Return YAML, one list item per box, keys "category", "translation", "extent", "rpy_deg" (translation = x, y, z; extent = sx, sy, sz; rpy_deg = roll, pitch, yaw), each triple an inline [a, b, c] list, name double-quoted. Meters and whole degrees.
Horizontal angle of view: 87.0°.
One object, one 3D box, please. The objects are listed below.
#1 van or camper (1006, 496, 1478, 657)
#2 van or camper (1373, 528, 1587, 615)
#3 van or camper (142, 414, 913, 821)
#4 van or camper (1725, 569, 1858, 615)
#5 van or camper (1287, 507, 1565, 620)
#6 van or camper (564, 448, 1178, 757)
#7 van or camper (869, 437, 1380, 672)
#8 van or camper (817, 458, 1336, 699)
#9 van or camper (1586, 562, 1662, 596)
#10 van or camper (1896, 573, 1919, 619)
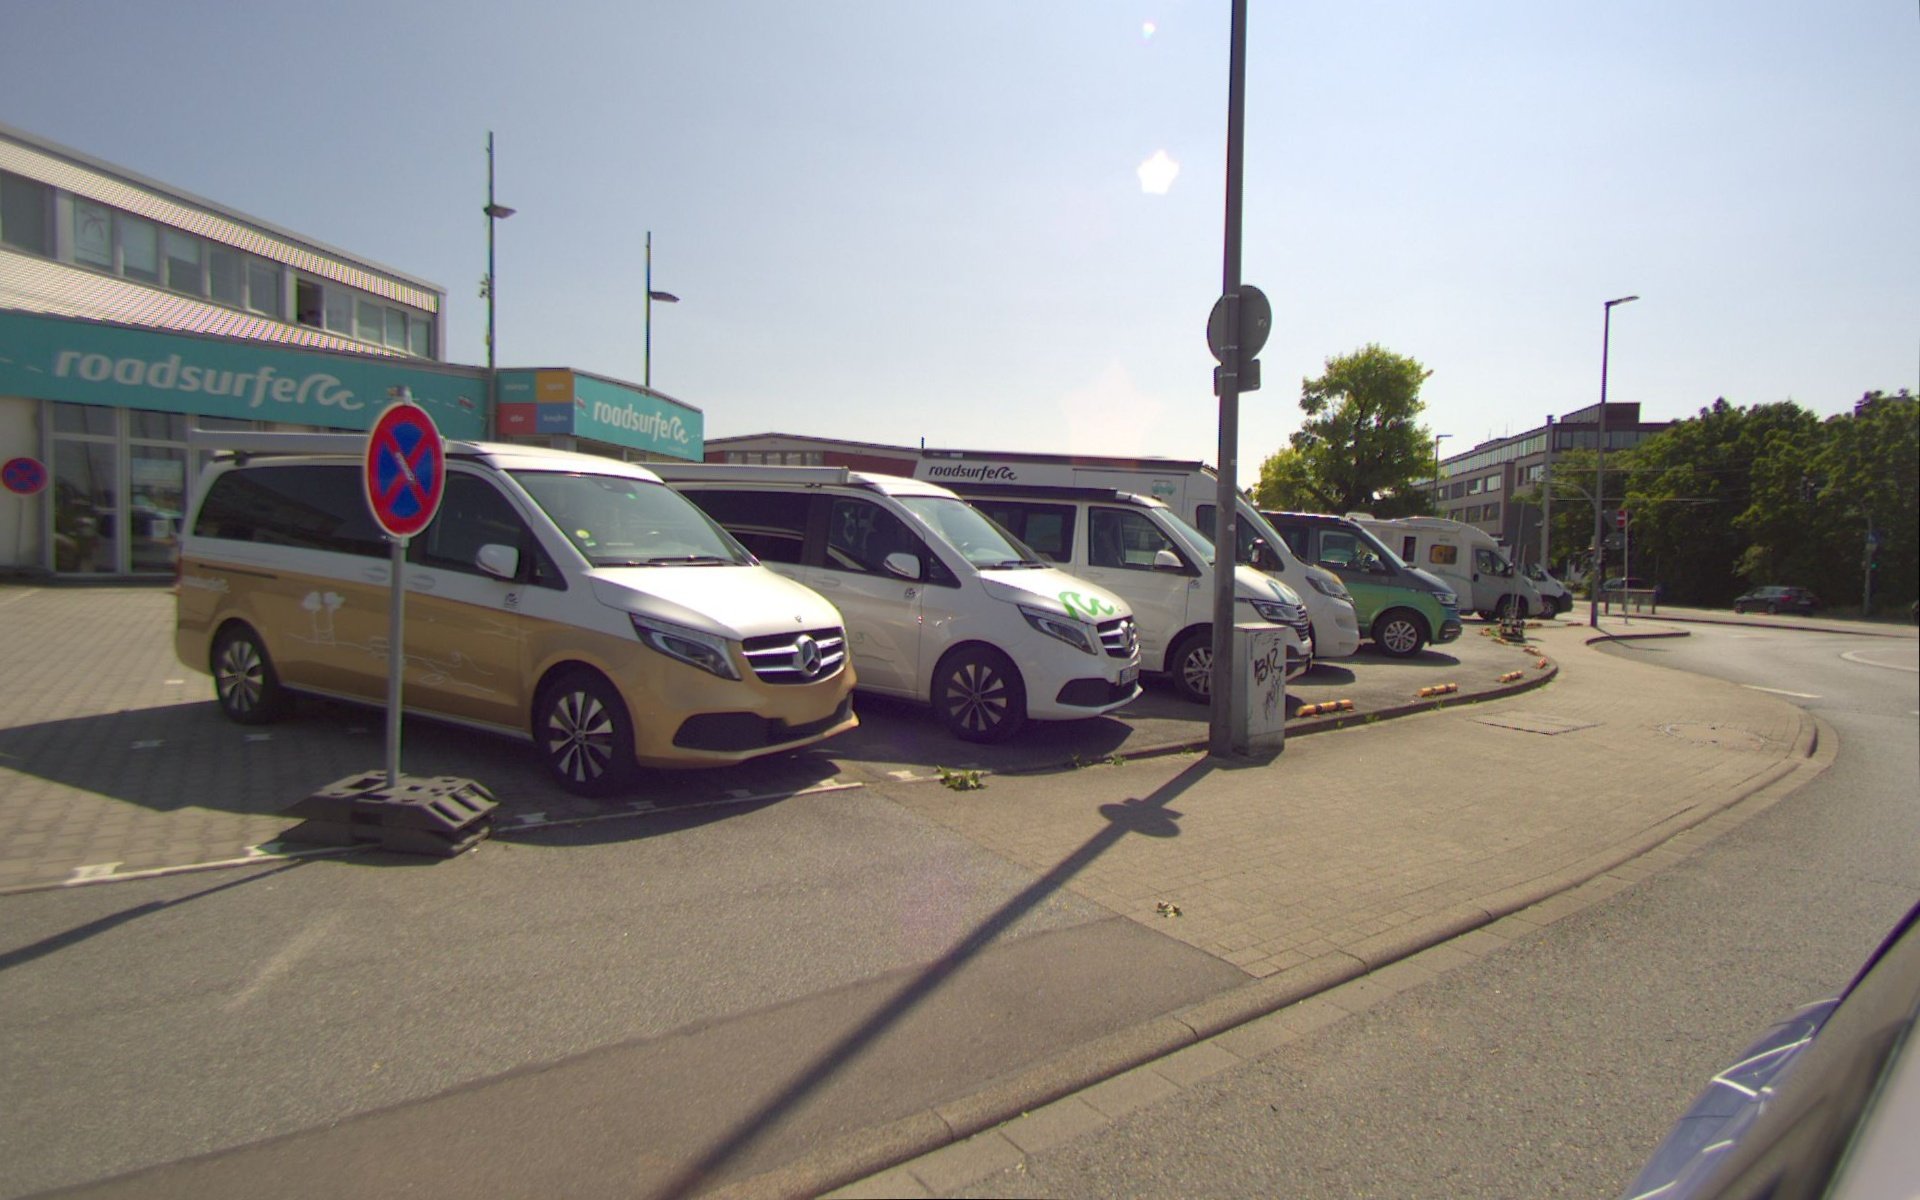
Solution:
- category: "van or camper"
  translation: [4.407, -0.497, 16.445]
  extent: [6.768, 2.160, 2.767]
  rpy_deg: [3, 3, 22]
- category: "van or camper"
  translation: [17.623, -1.023, 34.751]
  extent: [5.975, 2.676, 2.773]
  rpy_deg: [3, 2, 16]
- category: "van or camper"
  translation: [-3.039, -0.116, 6.907]
  extent: [5.084, 1.984, 1.971]
  rpy_deg: [4, 4, 25]
- category: "van or camper"
  translation: [41.670, -0.464, 50.946]
  extent: [2.459, 2.038, 5.234]
  rpy_deg: [2, 3, 4]
- category: "van or camper"
  translation: [13.297, -1.107, 29.499]
  extent: [6.740, 2.919, 2.778]
  rpy_deg: [2, 2, 11]
- category: "van or camper"
  translation: [-0.830, -0.156, 8.750]
  extent: [4.932, 2.070, 2.025]
  rpy_deg: [4, 3, 25]
- category: "van or camper"
  translation: [2.167, -0.700, 13.768]
  extent: [6.284, 2.668, 2.518]
  rpy_deg: [3, 2, 20]
- category: "van or camper"
  translation: [1.281, -0.343, 10.973]
  extent: [5.083, 2.101, 2.433]
  rpy_deg: [3, 3, 23]
- category: "van or camper"
  translation: [44.407, -1.456, 67.812]
  extent: [2.466, 2.038, 5.219]
  rpy_deg: [2, 3, 13]
- category: "van or camper"
  translation: [39.774, -0.044, 38.986]
  extent: [2.457, 1.850, 5.298]
  rpy_deg: [2, 3, 1]
